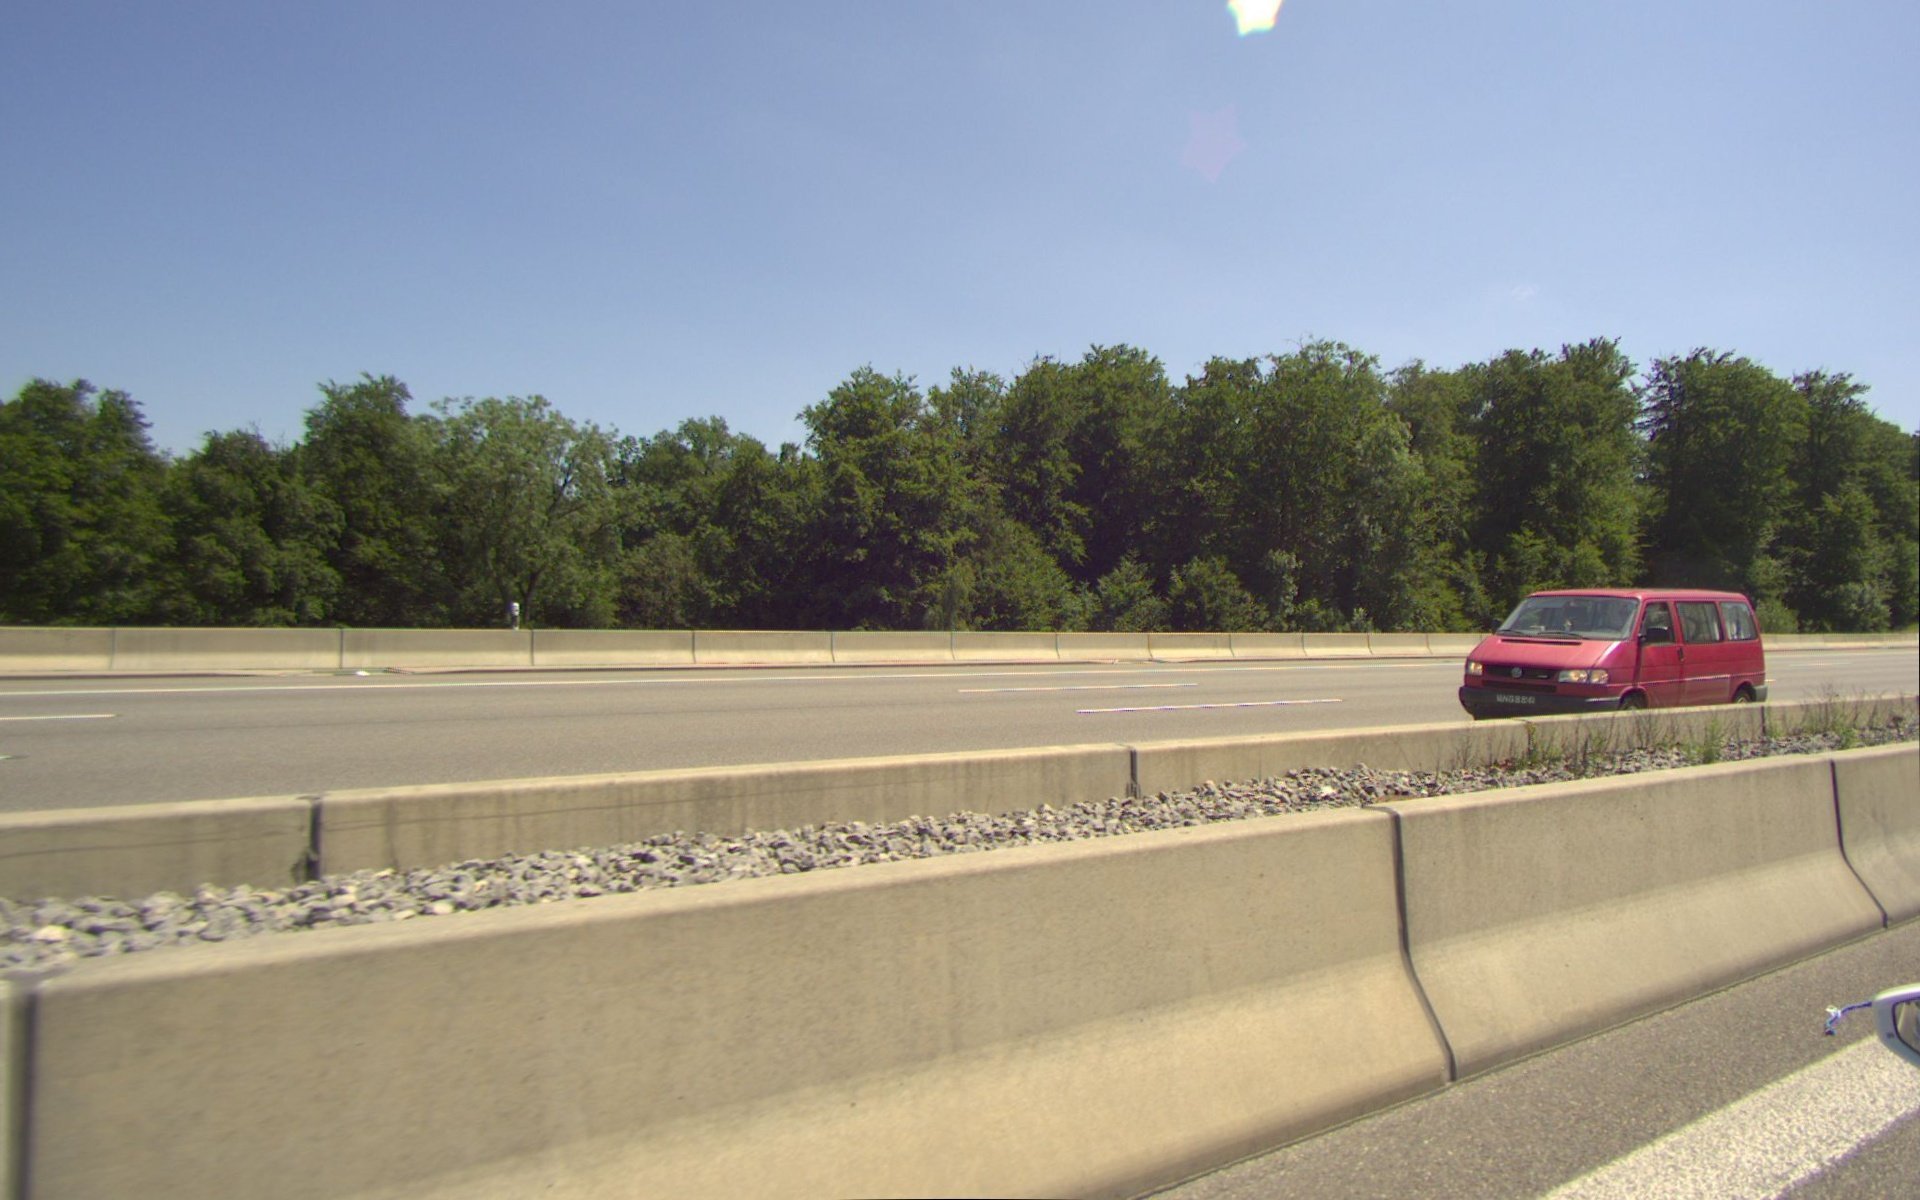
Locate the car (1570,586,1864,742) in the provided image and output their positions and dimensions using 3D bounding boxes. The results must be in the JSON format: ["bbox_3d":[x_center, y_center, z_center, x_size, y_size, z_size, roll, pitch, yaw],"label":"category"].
[{"bbox_3d":[11.201,0.855,14.752,5.030,1.970,1.760,2,0,-32],"label":"car"}]
